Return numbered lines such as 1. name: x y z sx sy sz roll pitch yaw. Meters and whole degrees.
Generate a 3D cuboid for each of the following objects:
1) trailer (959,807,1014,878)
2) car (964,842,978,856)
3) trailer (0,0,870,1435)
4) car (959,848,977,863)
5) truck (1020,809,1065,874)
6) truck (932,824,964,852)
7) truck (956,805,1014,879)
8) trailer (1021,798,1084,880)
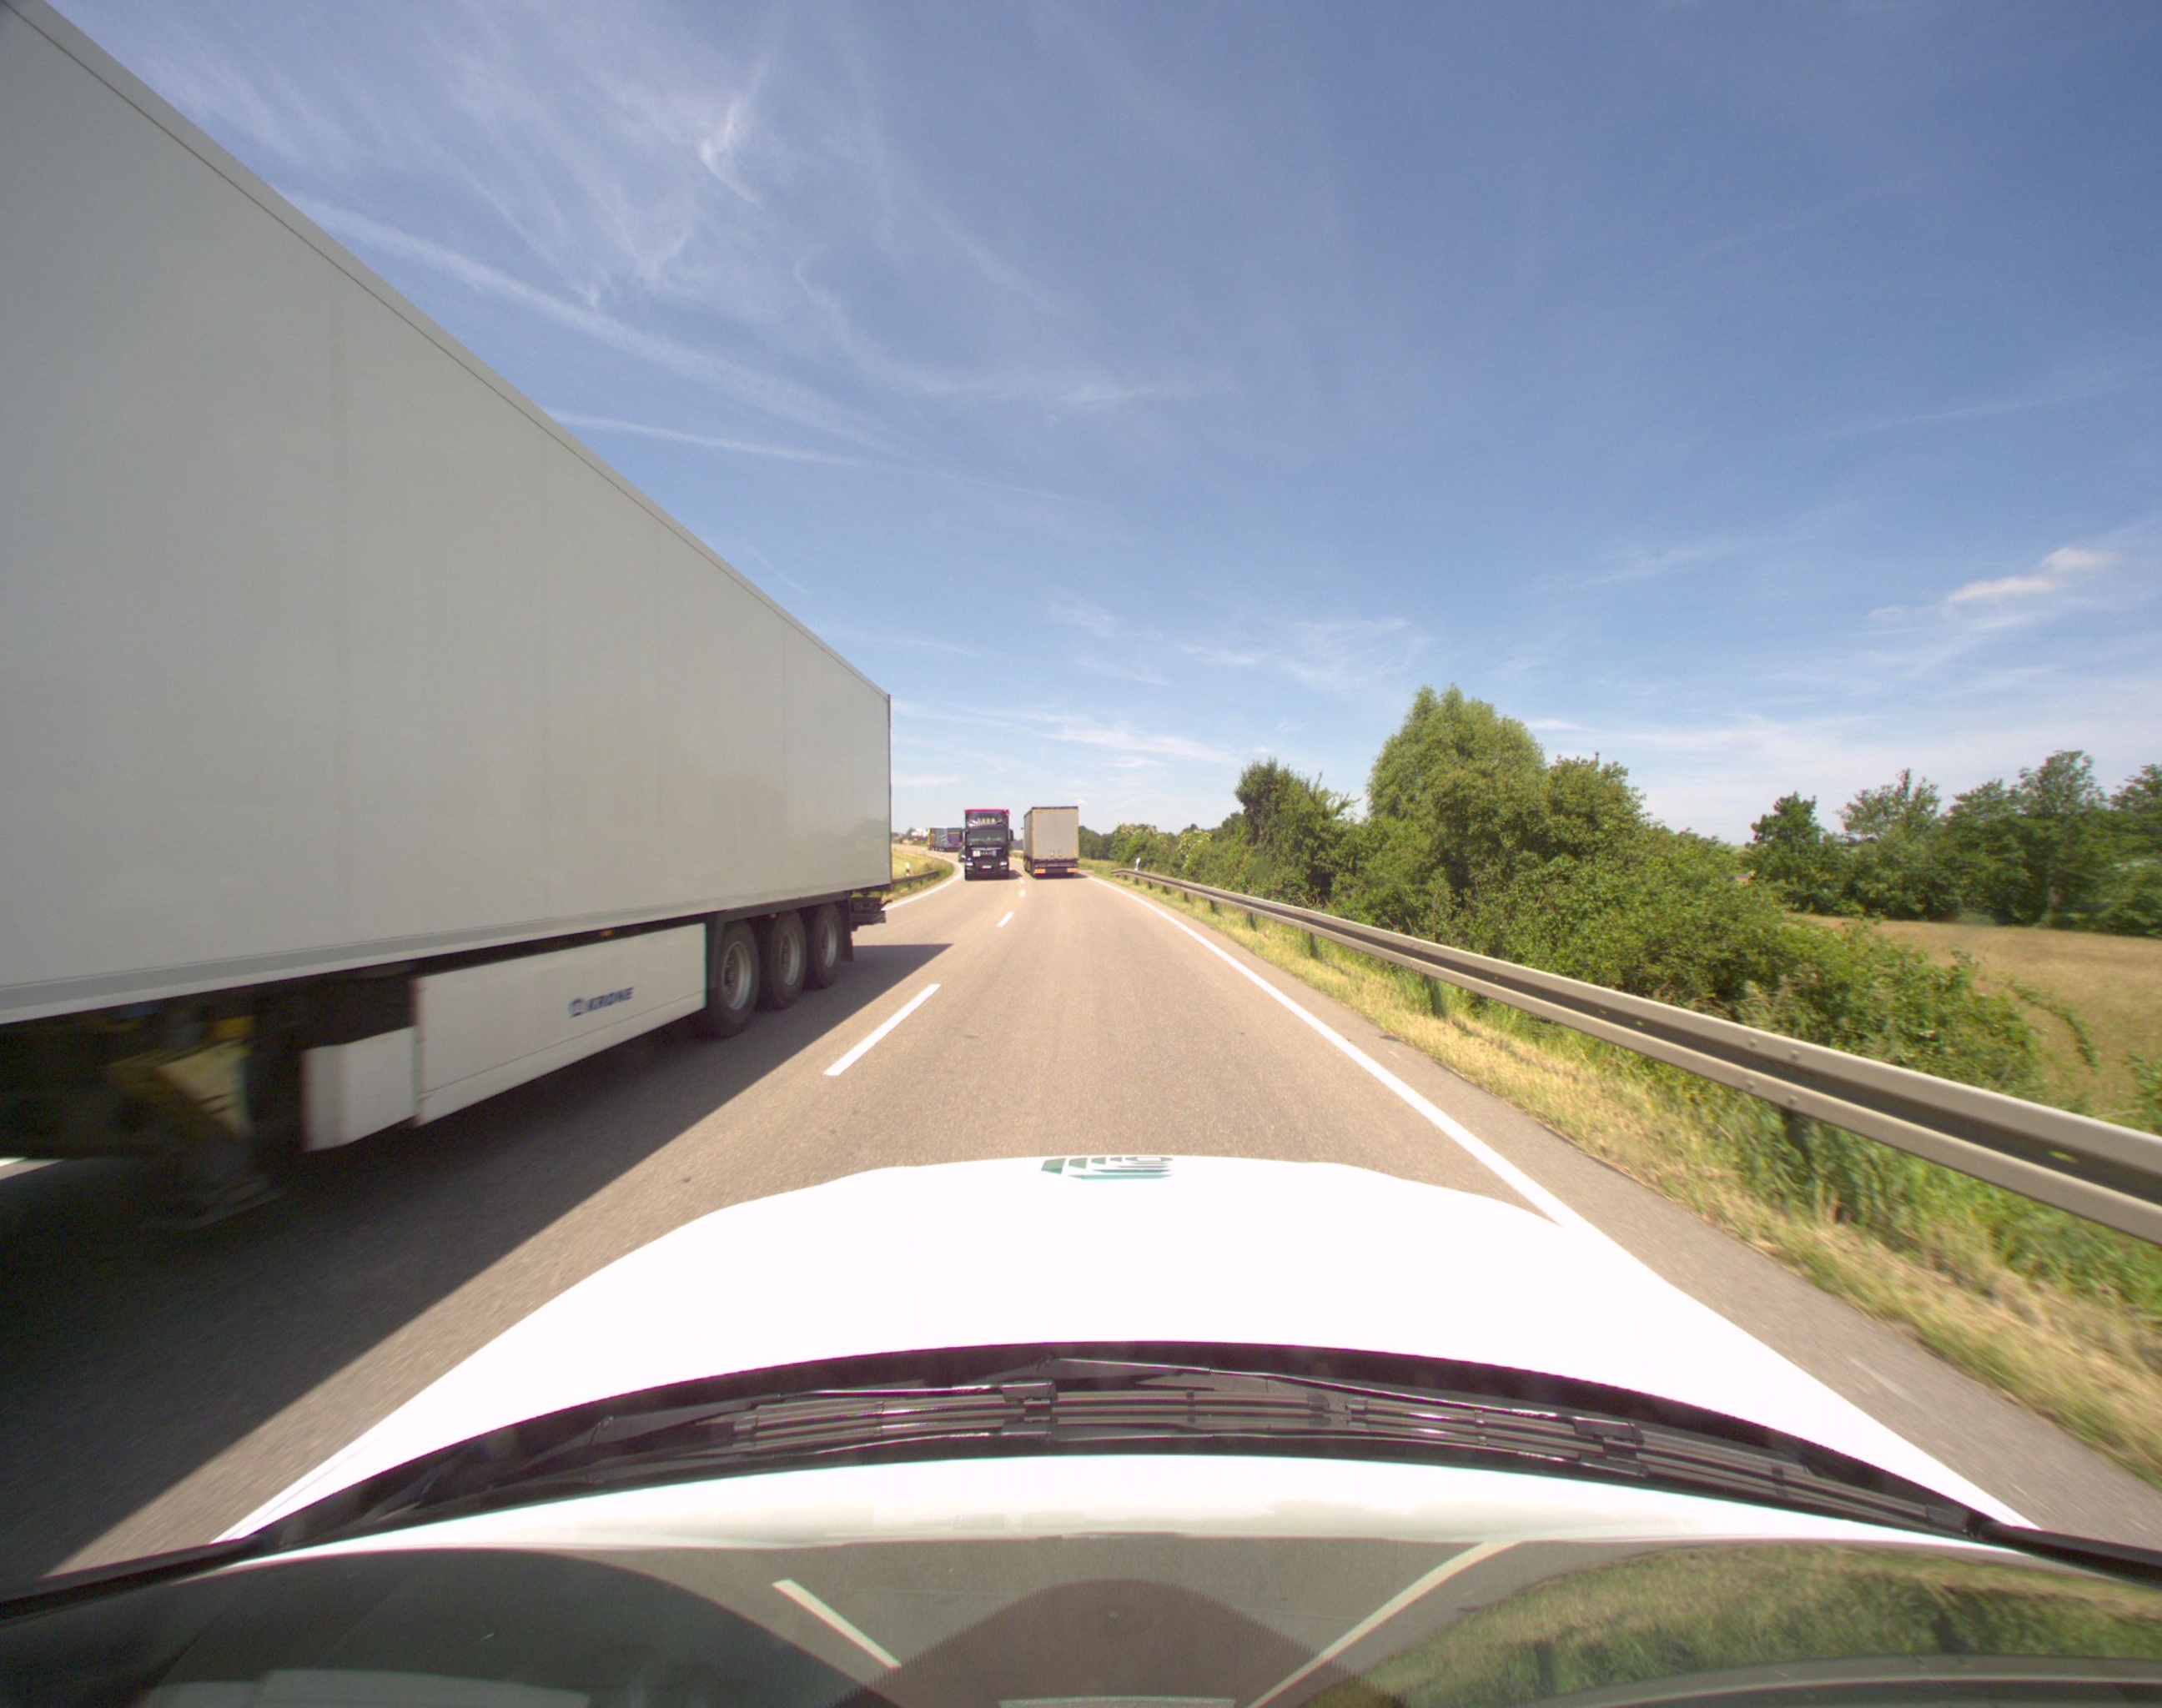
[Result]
1. trailer: -6.256 -0.748 55.998 3.236 4.149 14.419 -1 1 -5
2. car: -15.761 -0.731 116.585 1.726 1.872 3.985 0 0 -11
3. trailer: -4.545 -0.651 4.116 3.363 4.400 13.742 -1 0 0
4. car: -12.193 0.173 87.769 1.701 1.469 4.184 2 1 -11
5. truck: -2.835 -0.891 58.232 2.856 4.400 5.060 -1 0 -7
6. truck: -22.804 -2.734 138.730 3.555 4.392 18.032 1 1 -15
7. truck: -5.631 -0.673 48.943 3.236 4.150 6.640 0 0 -5
8. trailer: -2.014 -0.848 50.963 2.864 4.400 13.462 -1 0 -6
